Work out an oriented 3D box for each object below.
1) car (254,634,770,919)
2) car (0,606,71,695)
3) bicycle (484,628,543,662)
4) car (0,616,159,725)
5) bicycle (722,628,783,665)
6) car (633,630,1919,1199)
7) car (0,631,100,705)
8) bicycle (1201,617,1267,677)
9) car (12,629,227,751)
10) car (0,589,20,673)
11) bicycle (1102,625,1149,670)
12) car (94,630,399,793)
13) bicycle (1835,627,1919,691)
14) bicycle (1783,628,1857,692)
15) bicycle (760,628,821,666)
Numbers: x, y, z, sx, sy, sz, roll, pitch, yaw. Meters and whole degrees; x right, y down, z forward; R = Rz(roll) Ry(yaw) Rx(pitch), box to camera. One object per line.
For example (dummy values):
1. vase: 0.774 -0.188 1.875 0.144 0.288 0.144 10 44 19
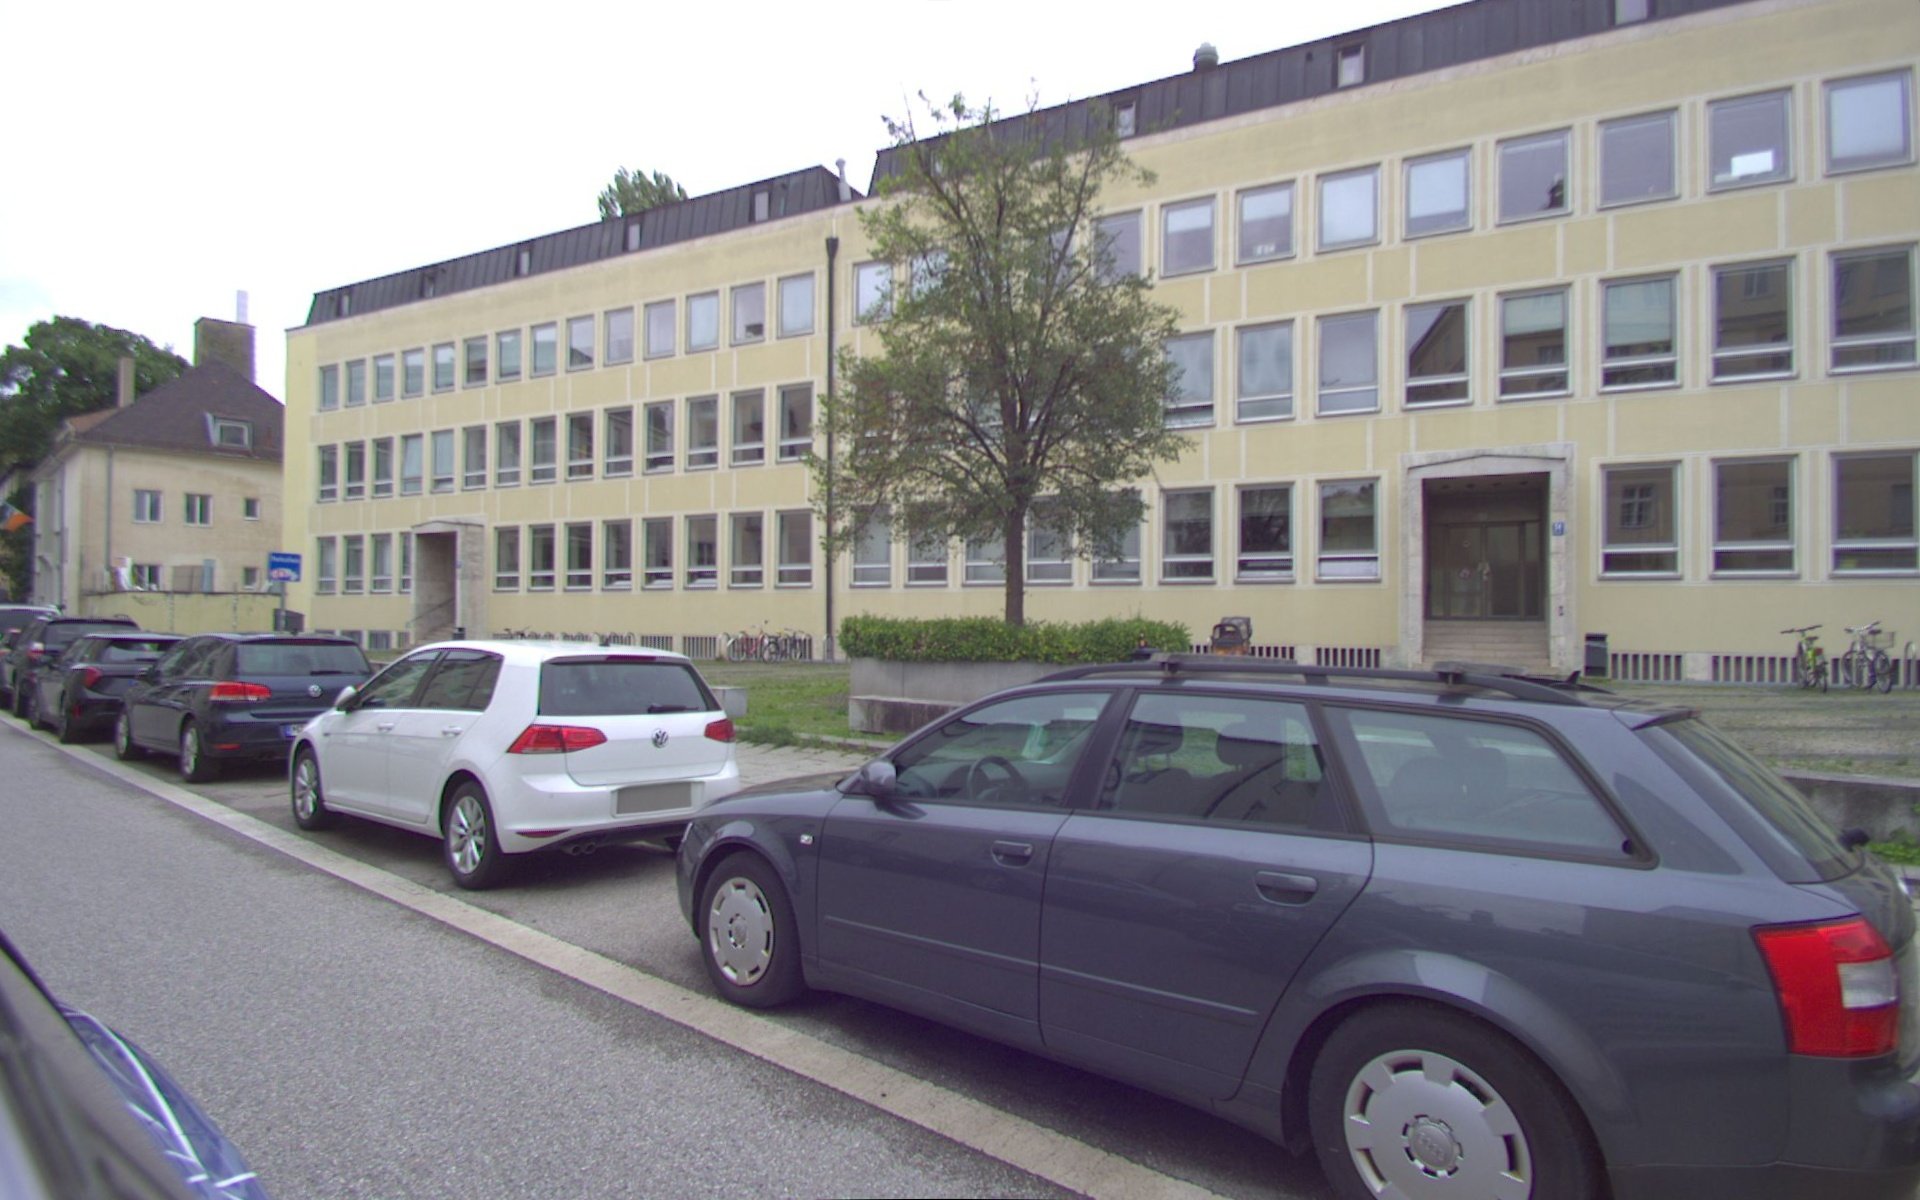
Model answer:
1. car: -3.345 0.998 7.214 4.068 1.465 1.640 -1 -3 39
2. car: -23.392 1.171 24.525 5.017 1.994 1.909 -1 -3 39
3. bicycle: -14.946 1.493 33.949 0.577 1.022 1.937 -1 0 24
4. car: -15.771 1.189 17.809 4.446 1.679 1.725 -1 -5 41
5. bicycle: -6.062 1.351 29.692 0.623 1.022 1.932 -1 -1 31
6. car: 0.790 0.865 3.710 4.393 1.465 1.737 -1 -4 41
7. car: -19.736 1.379 21.496 3.917 1.398 1.725 -1 -1 42
8. bicycle: 6.165 1.019 22.628 1.050 1.258 2.422 -1 -1 24
9. car: -11.863 1.167 14.203 3.867 1.465 1.663 -1 -4 41
10. car: -32.785 1.006 33.310 5.653 2.666 2.272 -1 -3 43
11. bicycle: 3.935 1.102 24.002 0.622 1.022 1.937 -1 -1 24
12. car: -7.871 1.080 11.045 3.969 1.465 1.640 -1 -3 39
13. bicycle: 15.686 0.983 17.311 0.622 1.022 1.935 -1 -1 27
14. bicycle: 14.900 1.007 17.575 0.623 1.022 1.933 -1 -1 31
15. bicycle: -4.833 1.322 28.958 0.623 1.022 1.932 -1 -1 31
